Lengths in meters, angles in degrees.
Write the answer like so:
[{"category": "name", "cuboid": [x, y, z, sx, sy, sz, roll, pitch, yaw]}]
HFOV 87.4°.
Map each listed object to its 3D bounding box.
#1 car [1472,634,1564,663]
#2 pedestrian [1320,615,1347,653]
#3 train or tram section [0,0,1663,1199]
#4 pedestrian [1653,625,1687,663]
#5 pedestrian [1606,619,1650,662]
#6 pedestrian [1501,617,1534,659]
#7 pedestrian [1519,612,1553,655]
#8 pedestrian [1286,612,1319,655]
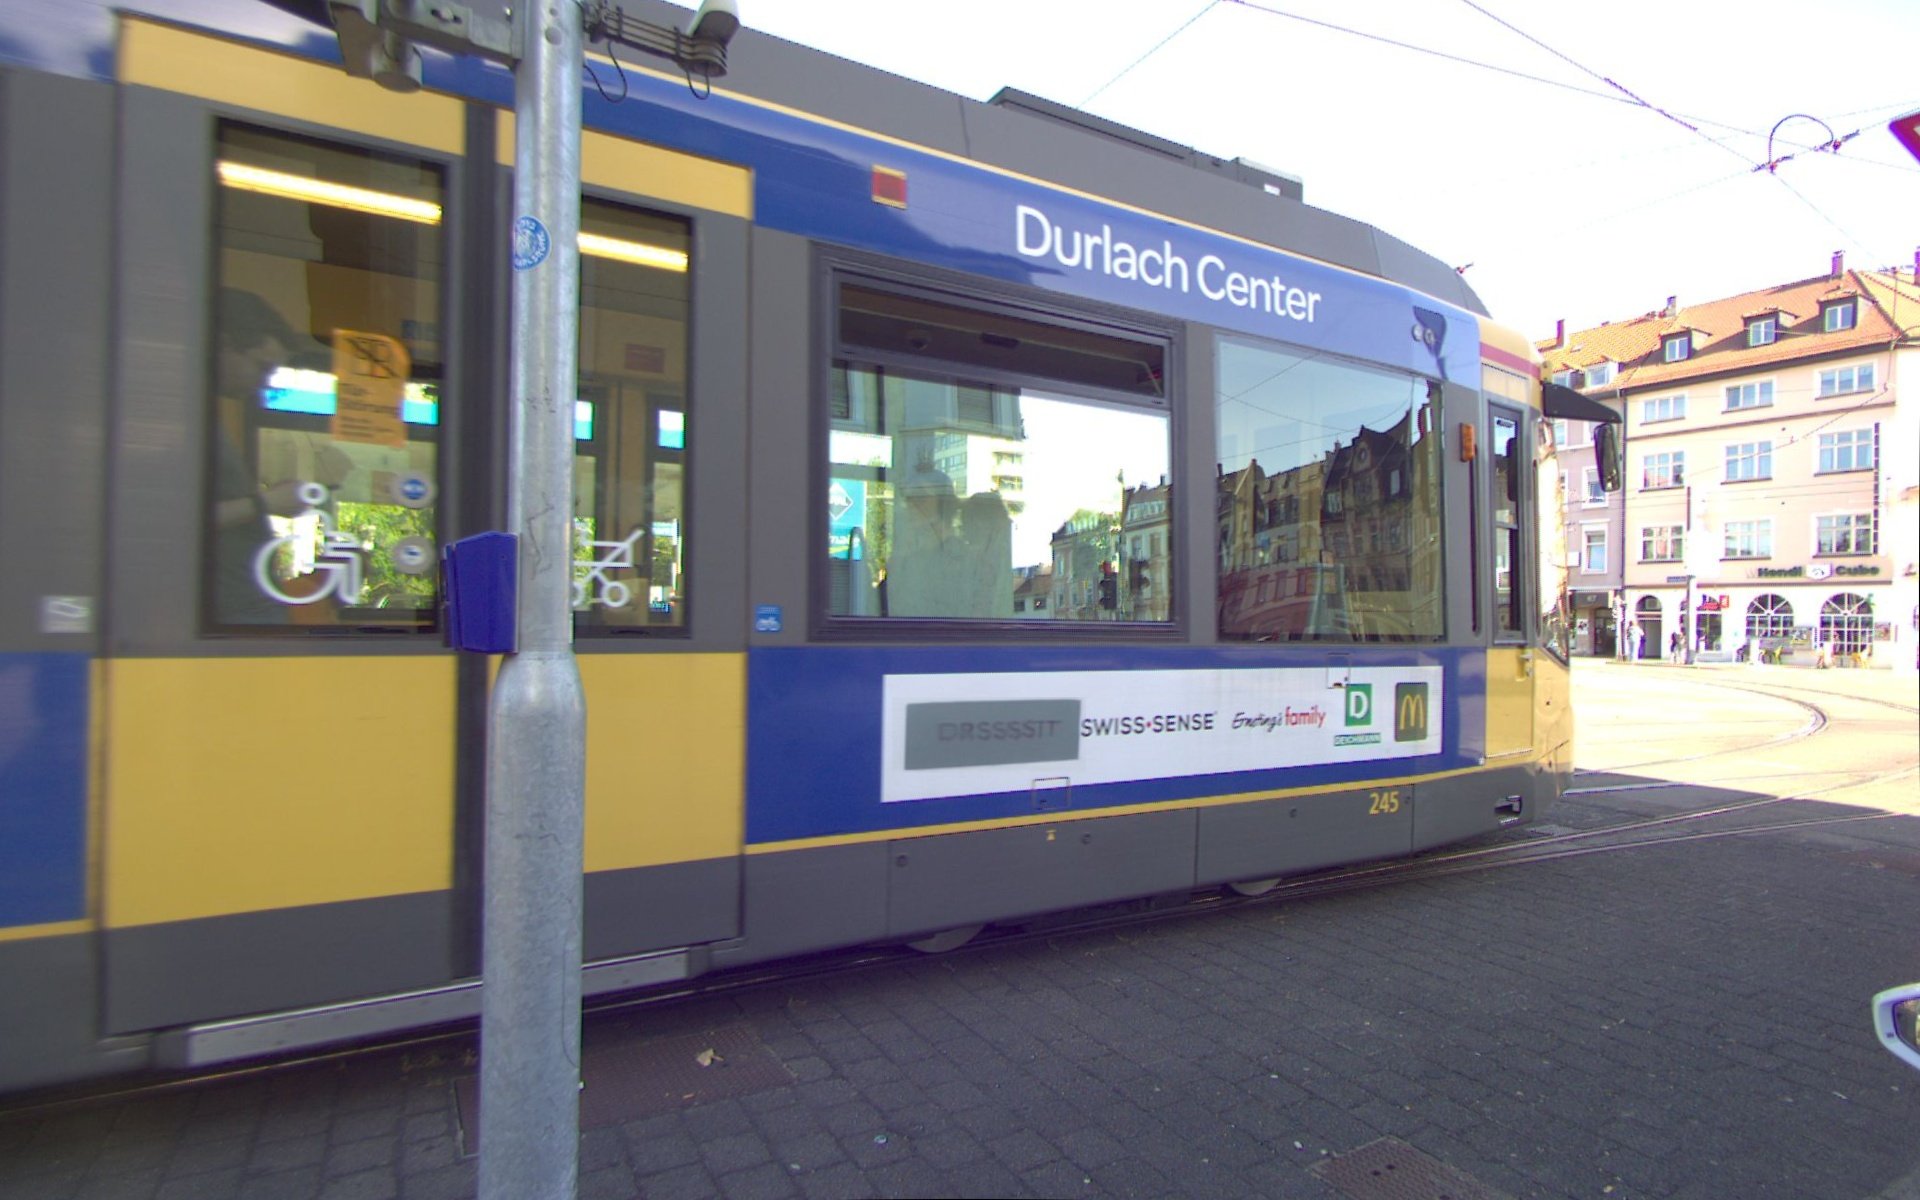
[{"category": "car", "cuboid": [30.427, 2.620, 54.909, 1.977, 1.472, 3.966, 1, -1, -31]}, {"category": "pedestrian", "cuboid": [14.784, 1.341, 39.749, 0.843, 1.473, 0.625, 1, -1, 3]}, {"category": "train or tram section", "cuboid": [-1.860, -0.420, 3.862, 11.887, 3.546, 2.757, 1, -1, -30]}, {"category": "pedestrian", "cuboid": [34.071, 2.115, 48.206, 0.926, 1.799, 1.006, 1, -1, -15]}, {"category": "pedestrian", "cuboid": [26.647, 1.604, 40.070, 1.091, 1.707, 1.075, 1, -1, -30]}, {"category": "pedestrian", "cuboid": [24.471, 1.667, 44.102, 0.924, 1.779, 0.934, 1, -1, -30]}, {"category": "pedestrian", "cuboid": [24.208, 1.404, 42.220, 0.924, 1.779, 0.934, 1, -1, -30]}, {"category": "pedestrian", "cuboid": [13.704, 1.334, 40.163, 0.820, 1.677, 0.941, 1, -1, -37]}]
